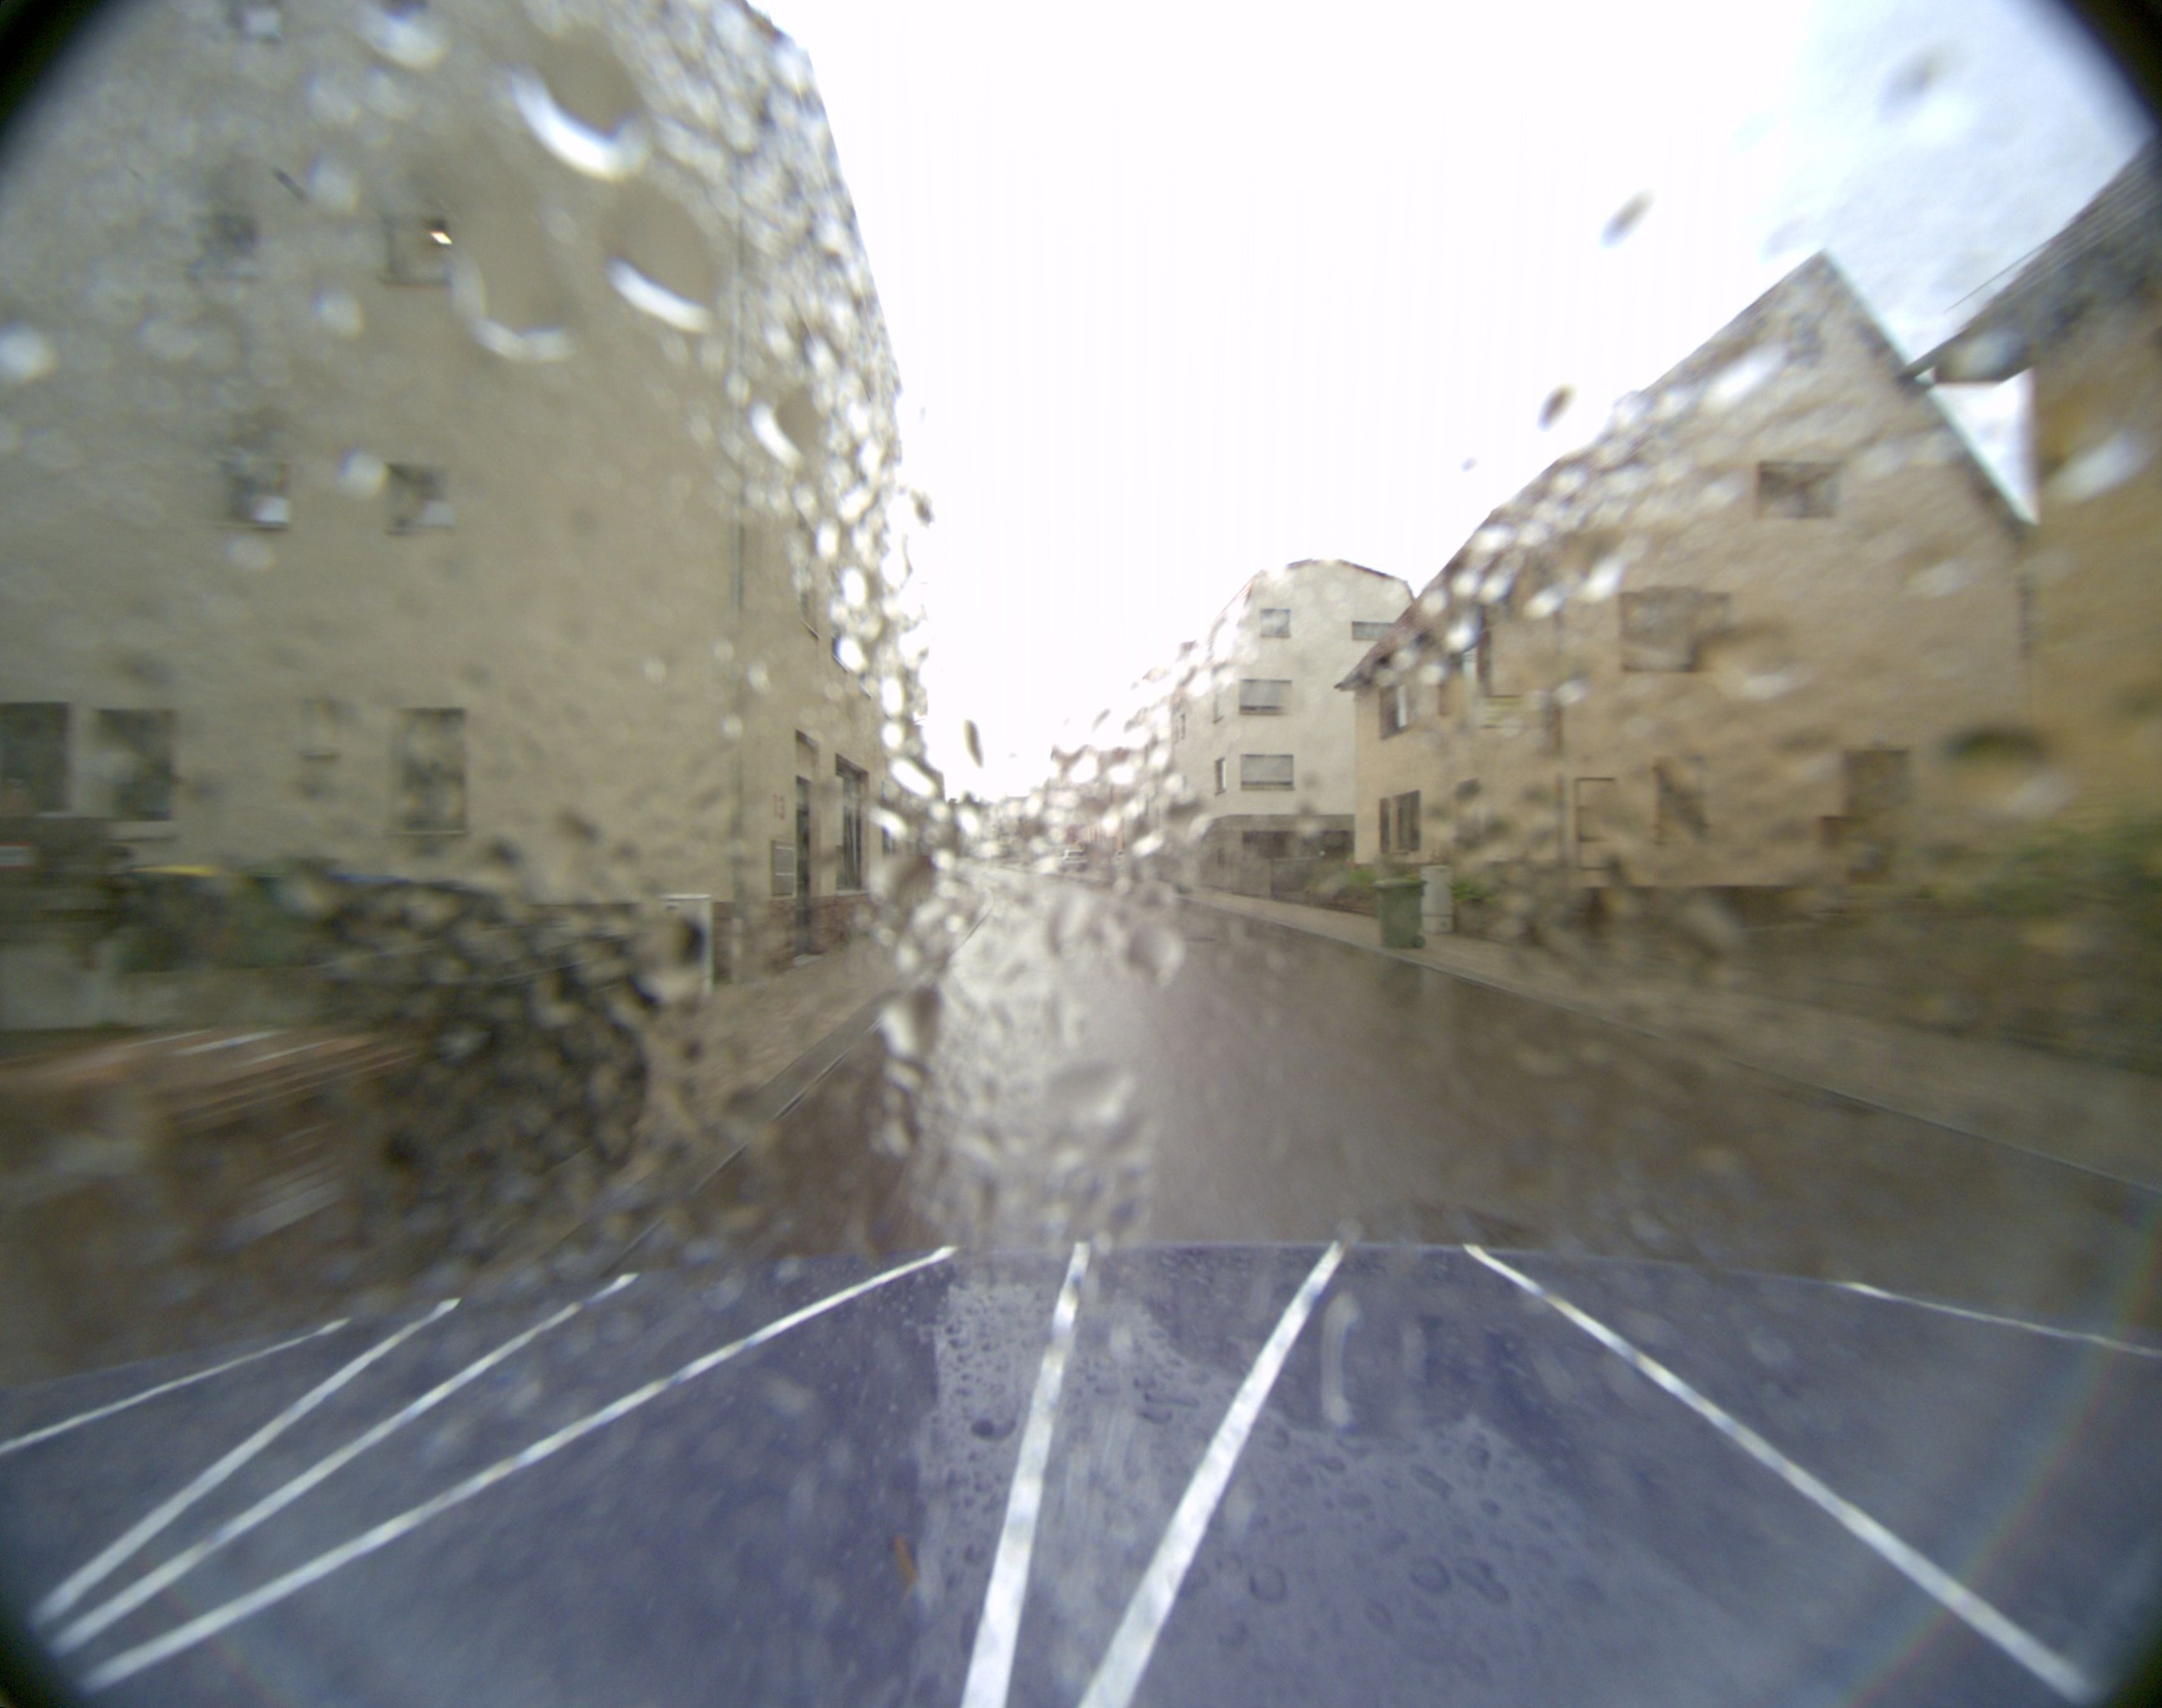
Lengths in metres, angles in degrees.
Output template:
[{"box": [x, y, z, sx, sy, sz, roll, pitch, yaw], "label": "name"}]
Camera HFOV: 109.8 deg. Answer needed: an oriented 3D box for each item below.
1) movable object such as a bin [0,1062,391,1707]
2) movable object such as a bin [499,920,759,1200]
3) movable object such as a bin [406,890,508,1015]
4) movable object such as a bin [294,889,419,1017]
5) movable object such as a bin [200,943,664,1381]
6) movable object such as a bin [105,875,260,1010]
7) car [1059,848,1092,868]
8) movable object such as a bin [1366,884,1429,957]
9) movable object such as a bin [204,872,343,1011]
[{"box": [-2.333, 1.153, 1.740, 0.762, 1.103, 0.810, 2, 1, 1], "label": "movable object such as a bin"}, {"box": [-2.434, 1.057, 4.239, 0.797, 1.241, 1.060, 2, 1, 1], "label": "movable object such as a bin"}, {"box": [-6.066, 0.931, 7.418, 0.511, 1.103, 0.720, 1, 1, -16], "label": "movable object such as a bin"}, {"box": [-6.842, 0.908, 7.210, 0.586, 1.103, 0.720, 1, 1, -16], "label": "movable object such as a bin"}, {"box": [-2.447, 1.073, 3.080, 0.797, 1.241, 1.243, 2, 1, 1], "label": "movable object such as a bin"}, {"box": [-8.007, 0.760, 6.809, 0.586, 1.103, 0.720, 1, 1, -16], "label": "movable object such as a bin"}, {"box": [-0.470, 0.301, 60.417, 2.000, 1.437, 3.996, -2, 1, -8], "label": "car"}, {"box": [4.913, 1.018, 11.817, 0.715, 1.053, 0.576, -2, 1, 1], "label": "movable object such as a bin"}, {"box": [-7.425, 0.773, 7.021, 0.586, 1.178, 0.720, 1, 1, -16], "label": "movable object such as a bin"}]
